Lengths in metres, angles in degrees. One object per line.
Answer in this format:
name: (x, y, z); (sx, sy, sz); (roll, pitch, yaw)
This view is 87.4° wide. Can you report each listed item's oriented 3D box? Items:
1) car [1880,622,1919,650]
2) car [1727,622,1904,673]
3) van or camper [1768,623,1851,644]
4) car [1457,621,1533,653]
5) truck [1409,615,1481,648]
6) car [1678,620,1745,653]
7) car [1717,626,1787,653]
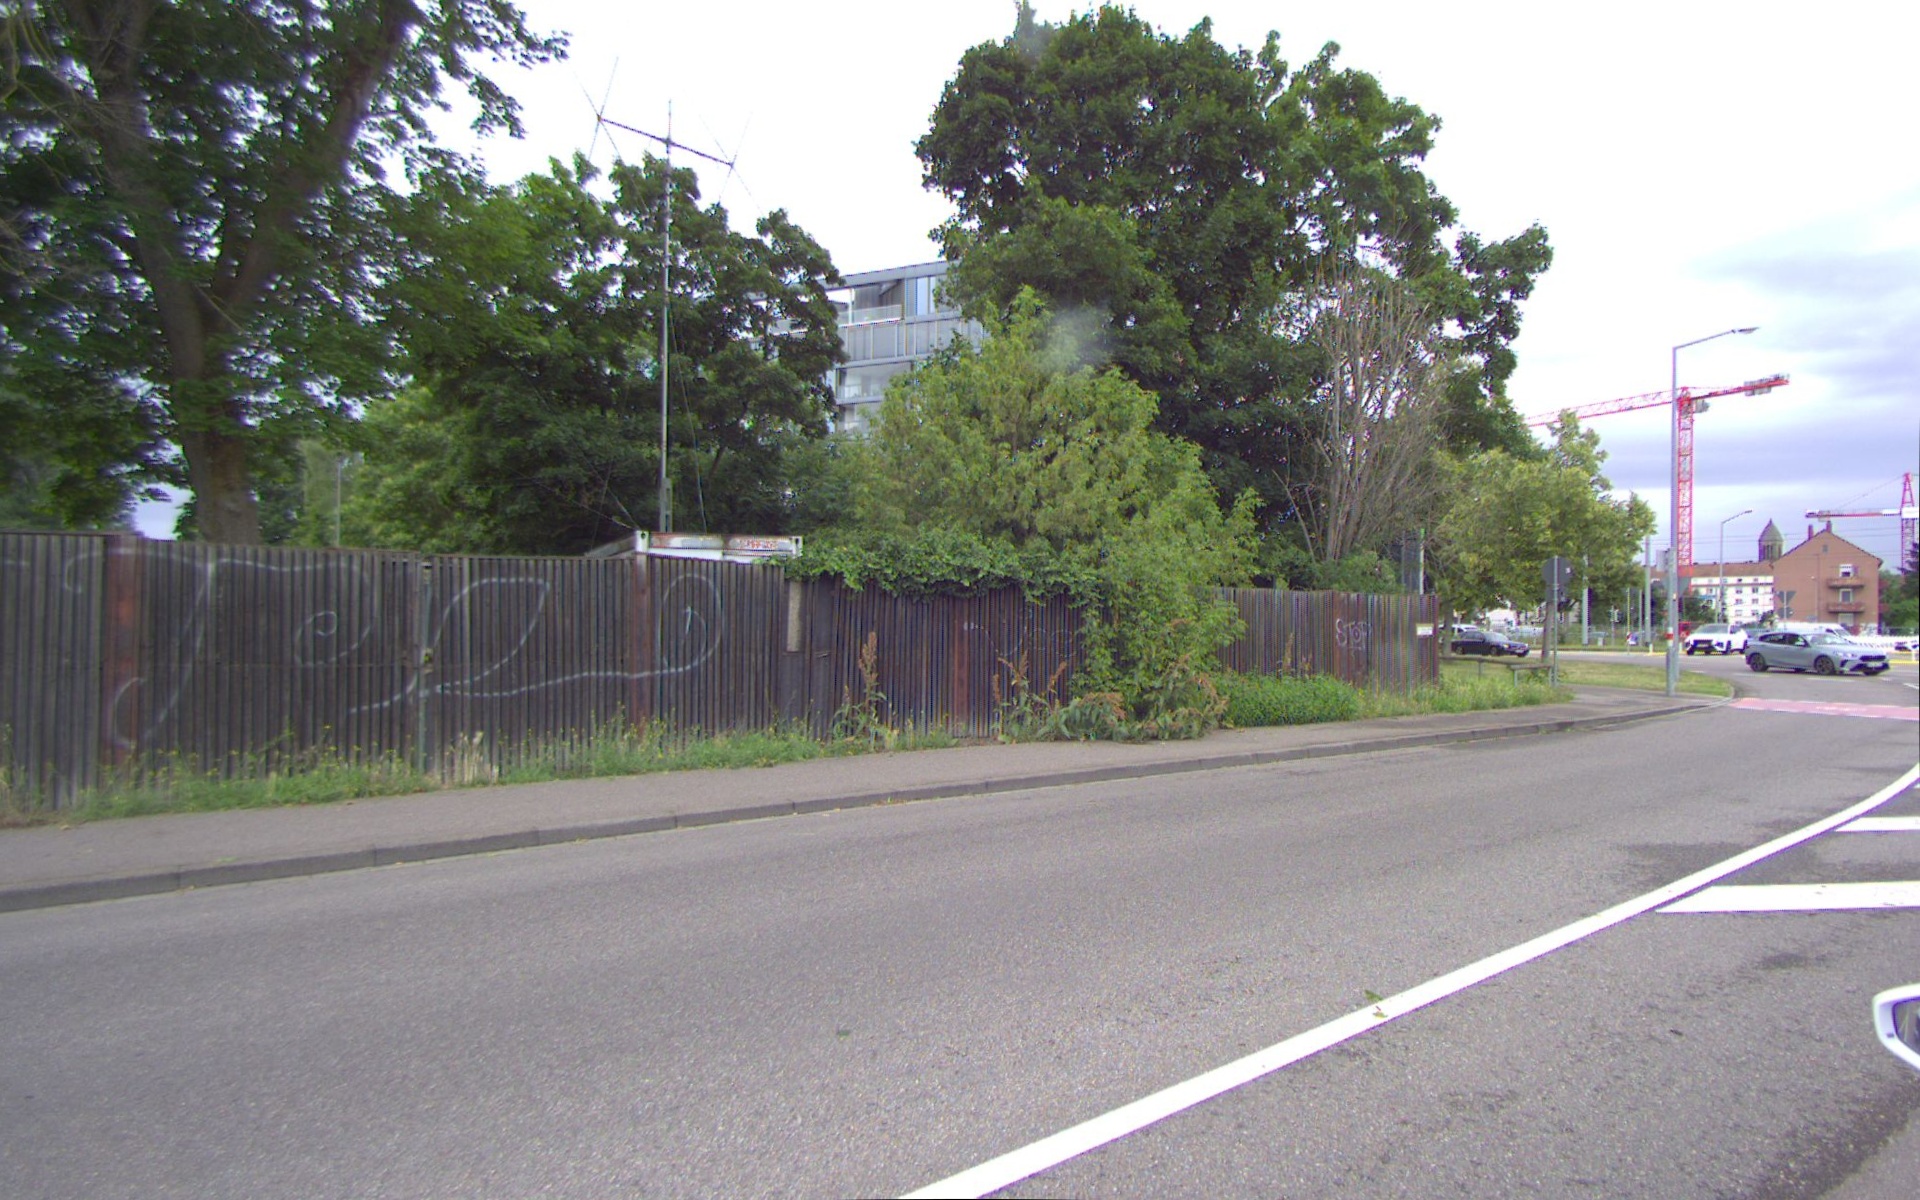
car: (58.999, 2.181, 60.789); (4.580, 1.656, 2.001); (0, -1, 5)
car: (29.284, 1.596, 34.598); (2.060, 1.624, 4.436); (0, -1, -6)
van or camper: (83.953, 3.270, 99.392); (1.969, 2.040, 6.171); (1, -1, -19)
car: (29.770, 2.031, 56.060); (1.962, 1.706, 3.998); (0, -1, -4)
truck: (31.224, 1.993, 64.767); (1.969, 2.040, 3.983); (1, -1, -20)
car: (40.528, 1.949, 54.148); (4.152, 1.706, 1.916); (1, -1, -38)
car: (46.155, 2.272, 58.519); (3.953, 1.509, 1.922); (1, -1, -30)
